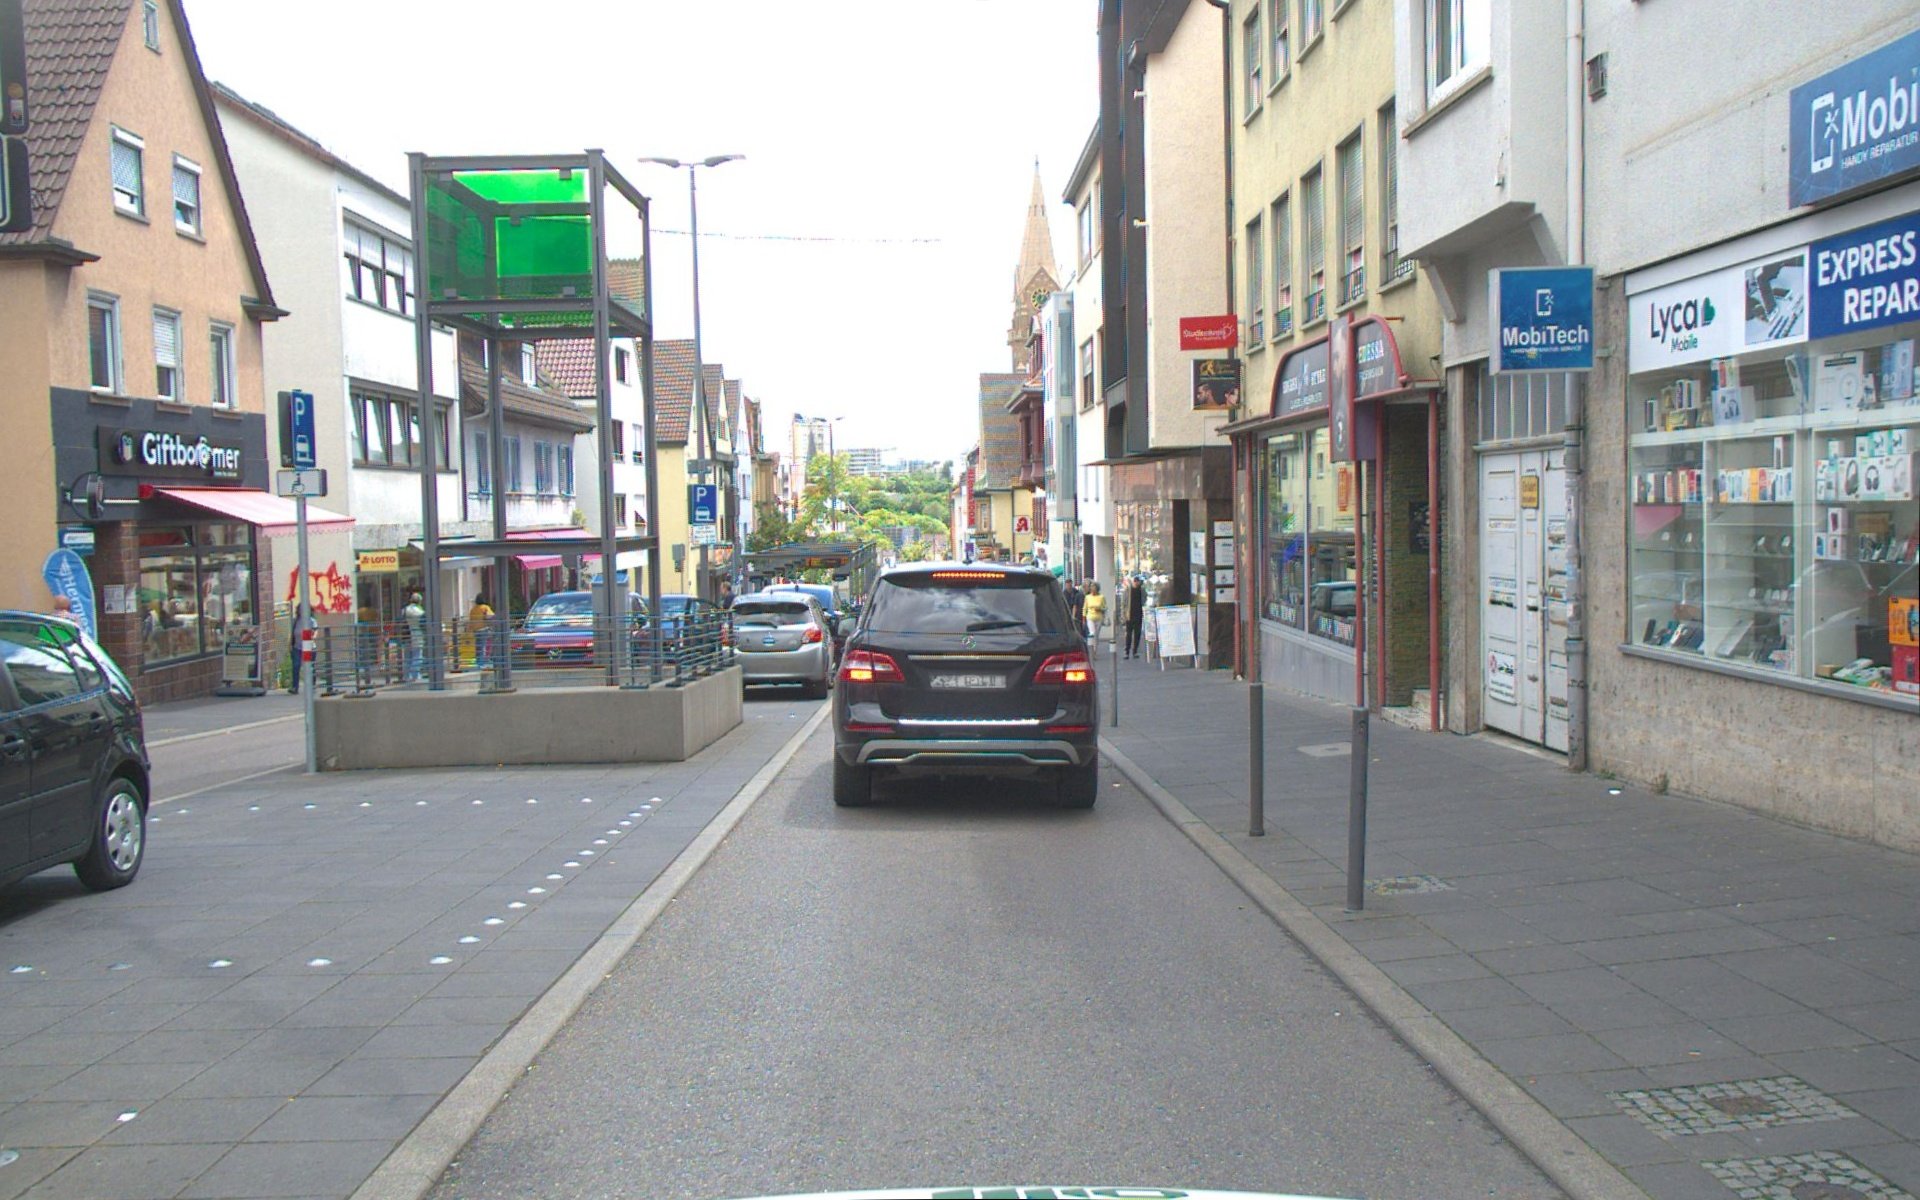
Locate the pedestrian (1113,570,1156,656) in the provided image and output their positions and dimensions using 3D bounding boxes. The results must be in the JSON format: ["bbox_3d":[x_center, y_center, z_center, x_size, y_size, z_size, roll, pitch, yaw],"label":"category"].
[{"bbox_3d":[3.594,0.265,34.063,0.650,1.718,0.542,-4,0,-8],"label":"pedestrian"}]

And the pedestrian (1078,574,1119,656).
[{"bbox_3d":[2.896,0.299,34.594,0.697,1.659,0.835,-3,0,-1],"label":"pedestrian"}]

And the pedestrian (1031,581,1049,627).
[{"bbox_3d":[2.990,0.137,61.866,0.562,1.718,0.565,1,0,-8],"label":"pedestrian"}]

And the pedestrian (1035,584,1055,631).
[{"bbox_3d":[3.141,0.280,60.964,0.562,1.718,0.565,-2,0,-8],"label":"pedestrian"}]

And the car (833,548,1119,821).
[{"bbox_3d":[0.007,0.559,12.888,1.863,1.777,3.998,1,0,-3],"label":"car"}]

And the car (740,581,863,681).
[{"bbox_3d":[-2.808,0.522,30.199,1.917,1.668,4.313,1,0,-2],"label":"car"}]

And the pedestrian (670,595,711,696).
[{"bbox_3d":[-3.976,0.659,24.413,0.457,1.456,0.492,-3,0,-2],"label":"pedestrian"}]

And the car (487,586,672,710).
[{"bbox_3d":[-5.216,0.613,23.181,1.704,1.570,4.192,1,0,-1],"label":"car"}]

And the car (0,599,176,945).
[{"bbox_3d":[-4.934,0.754,7.090,1.538,1.501,3.852,-1,0,-4],"label":"car"}]

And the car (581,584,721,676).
[{"bbox_3d":[-5.514,0.484,29.913,1.703,1.501,3.885,1,1,1],"label":"car"}]

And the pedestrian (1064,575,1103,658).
[{"bbox_3d":[2.723,0.359,36.534,0.697,1.784,0.785,-3,0,-2],"label":"pedestrian"}]

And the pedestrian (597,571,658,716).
[{"bbox_3d":[-3.986,0.502,19.860,0.522,1.701,0.901,0,1,1],"label":"pedestrian"}]

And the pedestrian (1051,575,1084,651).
[{"bbox_3d":[2.561,0.302,39.423,0.696,1.784,0.787,-1,1,-2],"label":"pedestrian"}]

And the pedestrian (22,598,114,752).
[{"bbox_3d":[-10.176,0.833,18.889,0.626,1.718,0.827,0,0,-3],"label":"pedestrian"}]

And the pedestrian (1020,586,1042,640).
[{"bbox_3d":[2.295,0.412,53.277,0.609,1.718,0.565,1,0,-8],"label":"pedestrian"}]

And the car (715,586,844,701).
[{"bbox_3d":[-2.598,0.596,24.472,1.587,1.559,3.669,1,0,-2],"label":"car"}]

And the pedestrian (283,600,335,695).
[{"bbox_3d":[-11.262,0.815,28.648,0.553,1.601,0.716,-3,0,-1],"label":"pedestrian"}]

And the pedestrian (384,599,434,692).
[{"bbox_3d":[-10.310,0.834,30.963,0.633,1.718,0.663,0,0,38],"label":"pedestrian"}]
